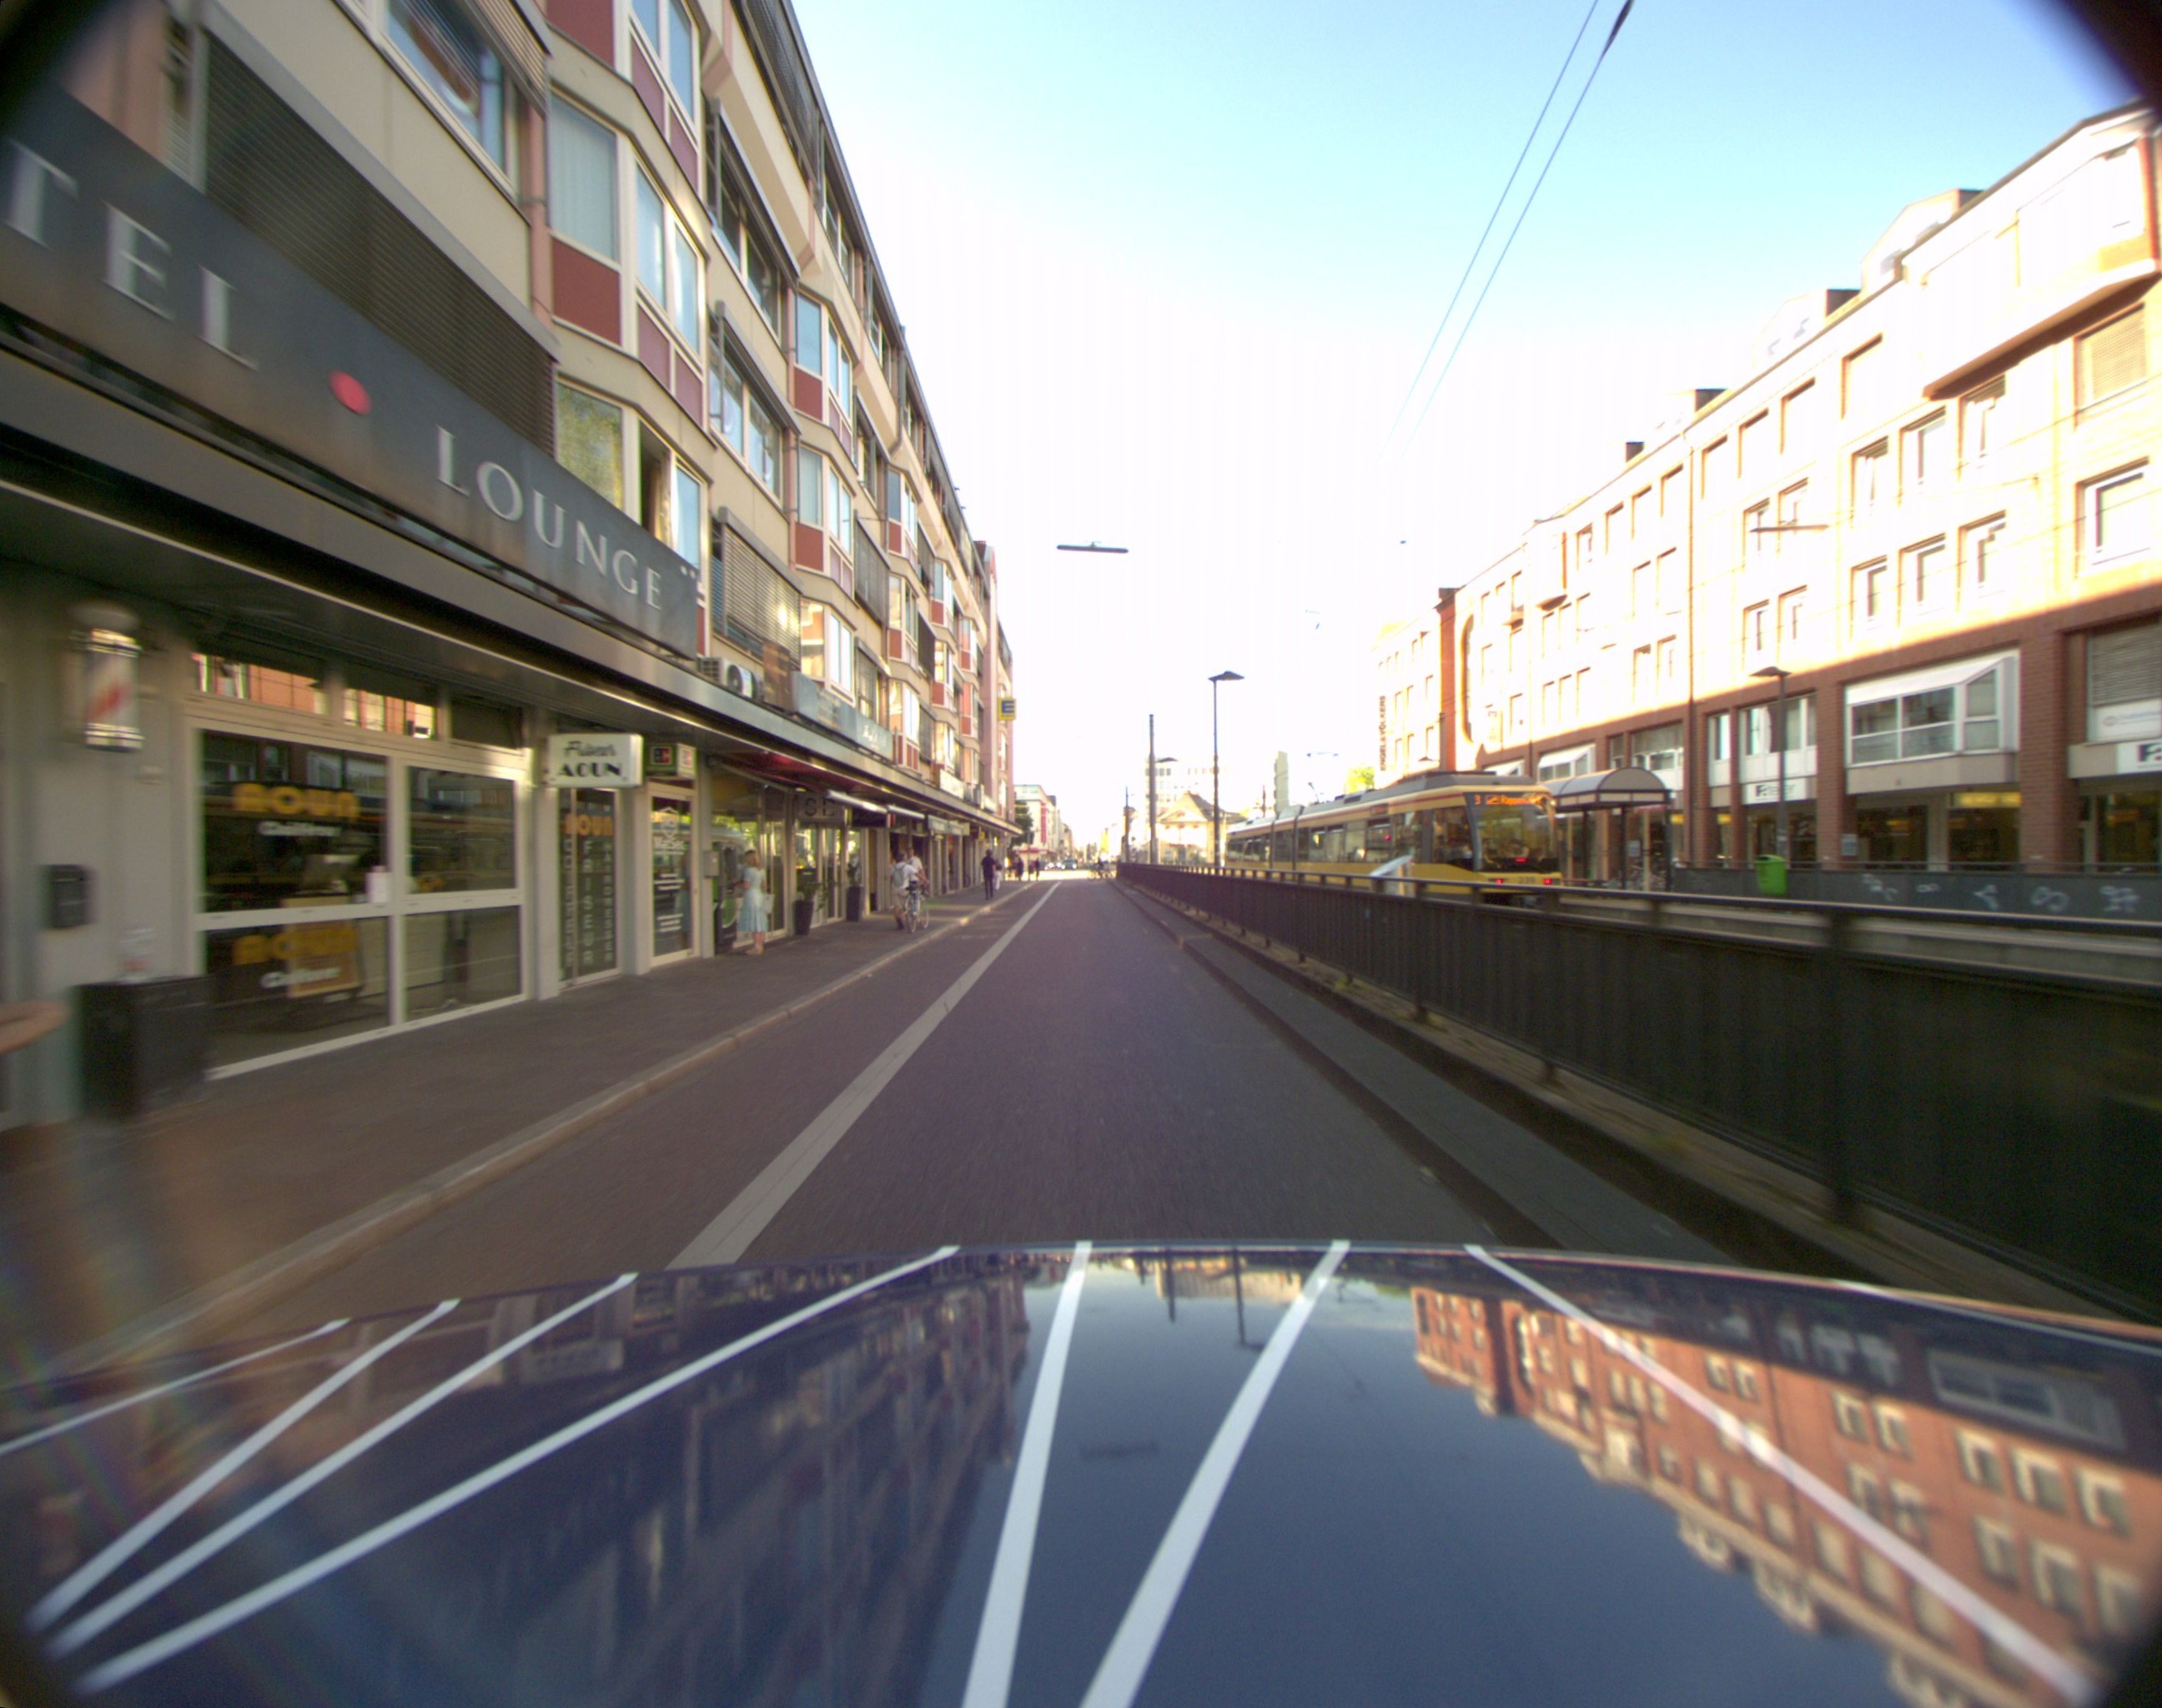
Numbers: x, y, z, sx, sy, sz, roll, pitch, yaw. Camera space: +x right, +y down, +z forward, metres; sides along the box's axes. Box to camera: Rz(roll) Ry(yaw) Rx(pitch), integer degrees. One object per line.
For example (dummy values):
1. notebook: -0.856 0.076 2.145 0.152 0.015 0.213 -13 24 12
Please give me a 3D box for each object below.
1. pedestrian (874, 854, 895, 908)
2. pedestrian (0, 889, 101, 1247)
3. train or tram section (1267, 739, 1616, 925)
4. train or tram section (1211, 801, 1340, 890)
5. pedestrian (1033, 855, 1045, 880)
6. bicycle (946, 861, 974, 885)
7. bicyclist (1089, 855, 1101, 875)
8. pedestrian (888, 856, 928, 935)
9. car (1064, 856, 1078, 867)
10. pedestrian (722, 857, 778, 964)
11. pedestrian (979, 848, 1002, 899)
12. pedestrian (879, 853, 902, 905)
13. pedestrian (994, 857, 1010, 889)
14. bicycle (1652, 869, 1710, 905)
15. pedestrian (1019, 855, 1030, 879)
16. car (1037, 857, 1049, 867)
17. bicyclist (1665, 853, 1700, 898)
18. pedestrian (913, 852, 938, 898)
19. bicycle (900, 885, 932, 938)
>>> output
1. pedestrian: -5.863 0.789 22.714 0.457 1.594 0.529 -1 0 0
2. pedestrian: -4.853 0.894 3.114 0.740 1.463 0.707 2 1 1
3. train or tram section: 9.306 -0.363 23.586 2.981 3.623 16.486 -2 -1 0
4. train or tram section: 9.368 -0.375 38.843 2.981 3.623 13.943 -2 0 0
5. pedestrian: -3.116 0.994 56.254 0.680 1.832 0.606 -3 1 -12
6. bicycle: -6.152 0.977 38.562 1.477 1.193 0.483 -1 1 37
7. bicyclist: 0.988 0.733 52.922 0.750 1.372 0.901 -1 0 -5
8. pedestrian: -3.655 0.862 16.085 0.664 1.621 0.705 1 0 -1
9. car: -1.394 1.028 107.236 1.772 1.458 3.812 -1 0 -3
10. pedestrian: -4.989 0.840 11.484 0.602 1.581 0.553 0 1 0
11. pedestrian: -3.382 0.722 28.395 0.676 1.850 0.992 1 1 2
12. pedestrian: -6.023 0.777 24.058 0.517 1.623 0.522 -1 0 5
13. pedestrian: -3.806 0.901 36.679 0.667 1.512 0.789 2 0 -1
14. bicycle: 19.963 1.089 25.309 0.507 1.108 1.814 -1 0 0
15. pedestrian: -3.801 0.860 51.050 0.709 1.604 0.495 0 2 -1
16. car: -5.545 1.167 111.806 1.772 1.458 3.812 -1 0 -3
17. bicyclist: 19.956 0.700 25.228 0.507 1.458 0.841 -1 1 0
18. pedestrian: -5.593 0.750 27.388 0.728 1.626 0.639 1 1 1
19. bicycle: -3.476 1.189 16.082 0.303 0.984 1.760 0 0 -1
